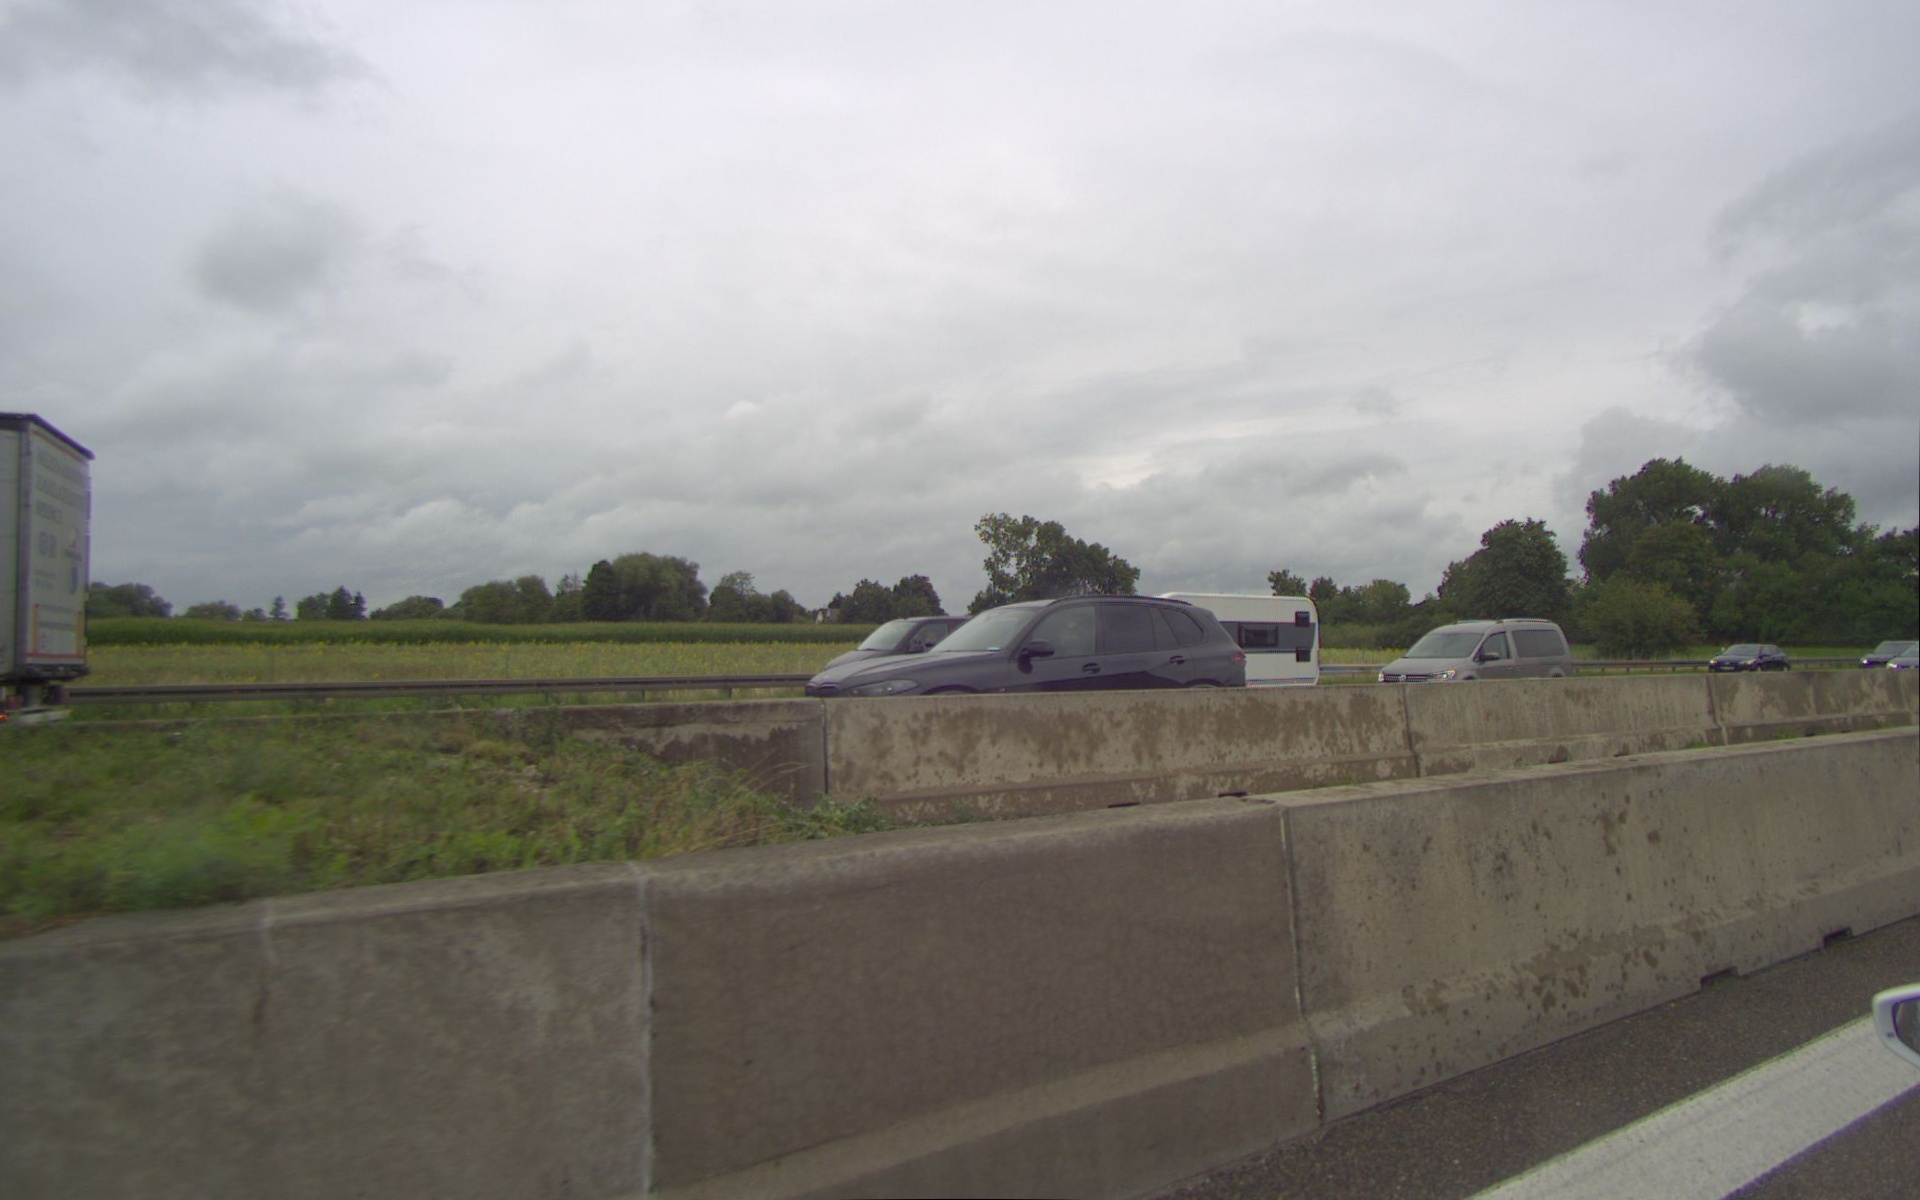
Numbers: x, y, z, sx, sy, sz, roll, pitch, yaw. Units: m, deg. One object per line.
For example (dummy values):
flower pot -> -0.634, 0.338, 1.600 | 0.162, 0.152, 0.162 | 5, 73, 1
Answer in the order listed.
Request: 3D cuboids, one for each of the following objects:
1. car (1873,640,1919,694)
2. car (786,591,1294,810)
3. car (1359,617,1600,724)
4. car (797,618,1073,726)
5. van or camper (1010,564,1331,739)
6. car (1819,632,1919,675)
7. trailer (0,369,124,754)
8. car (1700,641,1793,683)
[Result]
car -> 33.458, 2.254, 34.337 | 4.744, 1.733, 2.051 | 1, -1, -31
car -> 0.928, 0.899, 10.354 | 5.012, 1.787, 1.984 | 1, -2, -30
car -> 10.580, 1.358, 20.346 | 5.217, 1.950, 1.874 | 1, -2, -31
car -> -0.416, 1.311, 19.731 | 5.082, 1.777, 2.078 | 1, 1, -34
van or camper -> 5.099, 1.147, 23.603 | 7.616, 3.550, 2.693 | 2, 0, -32
car -> 39.685, 2.284, 43.627 | 4.742, 1.733, 2.084 | 1, -1, -29
trailer -> -18.080, -0.686, 9.204 | 15.440, 4.328, 3.695 | 2, 0, -30
car -> 33.706, 2.638, 43.022 | 3.956, 1.617, 1.874 | 2, 0, -32
